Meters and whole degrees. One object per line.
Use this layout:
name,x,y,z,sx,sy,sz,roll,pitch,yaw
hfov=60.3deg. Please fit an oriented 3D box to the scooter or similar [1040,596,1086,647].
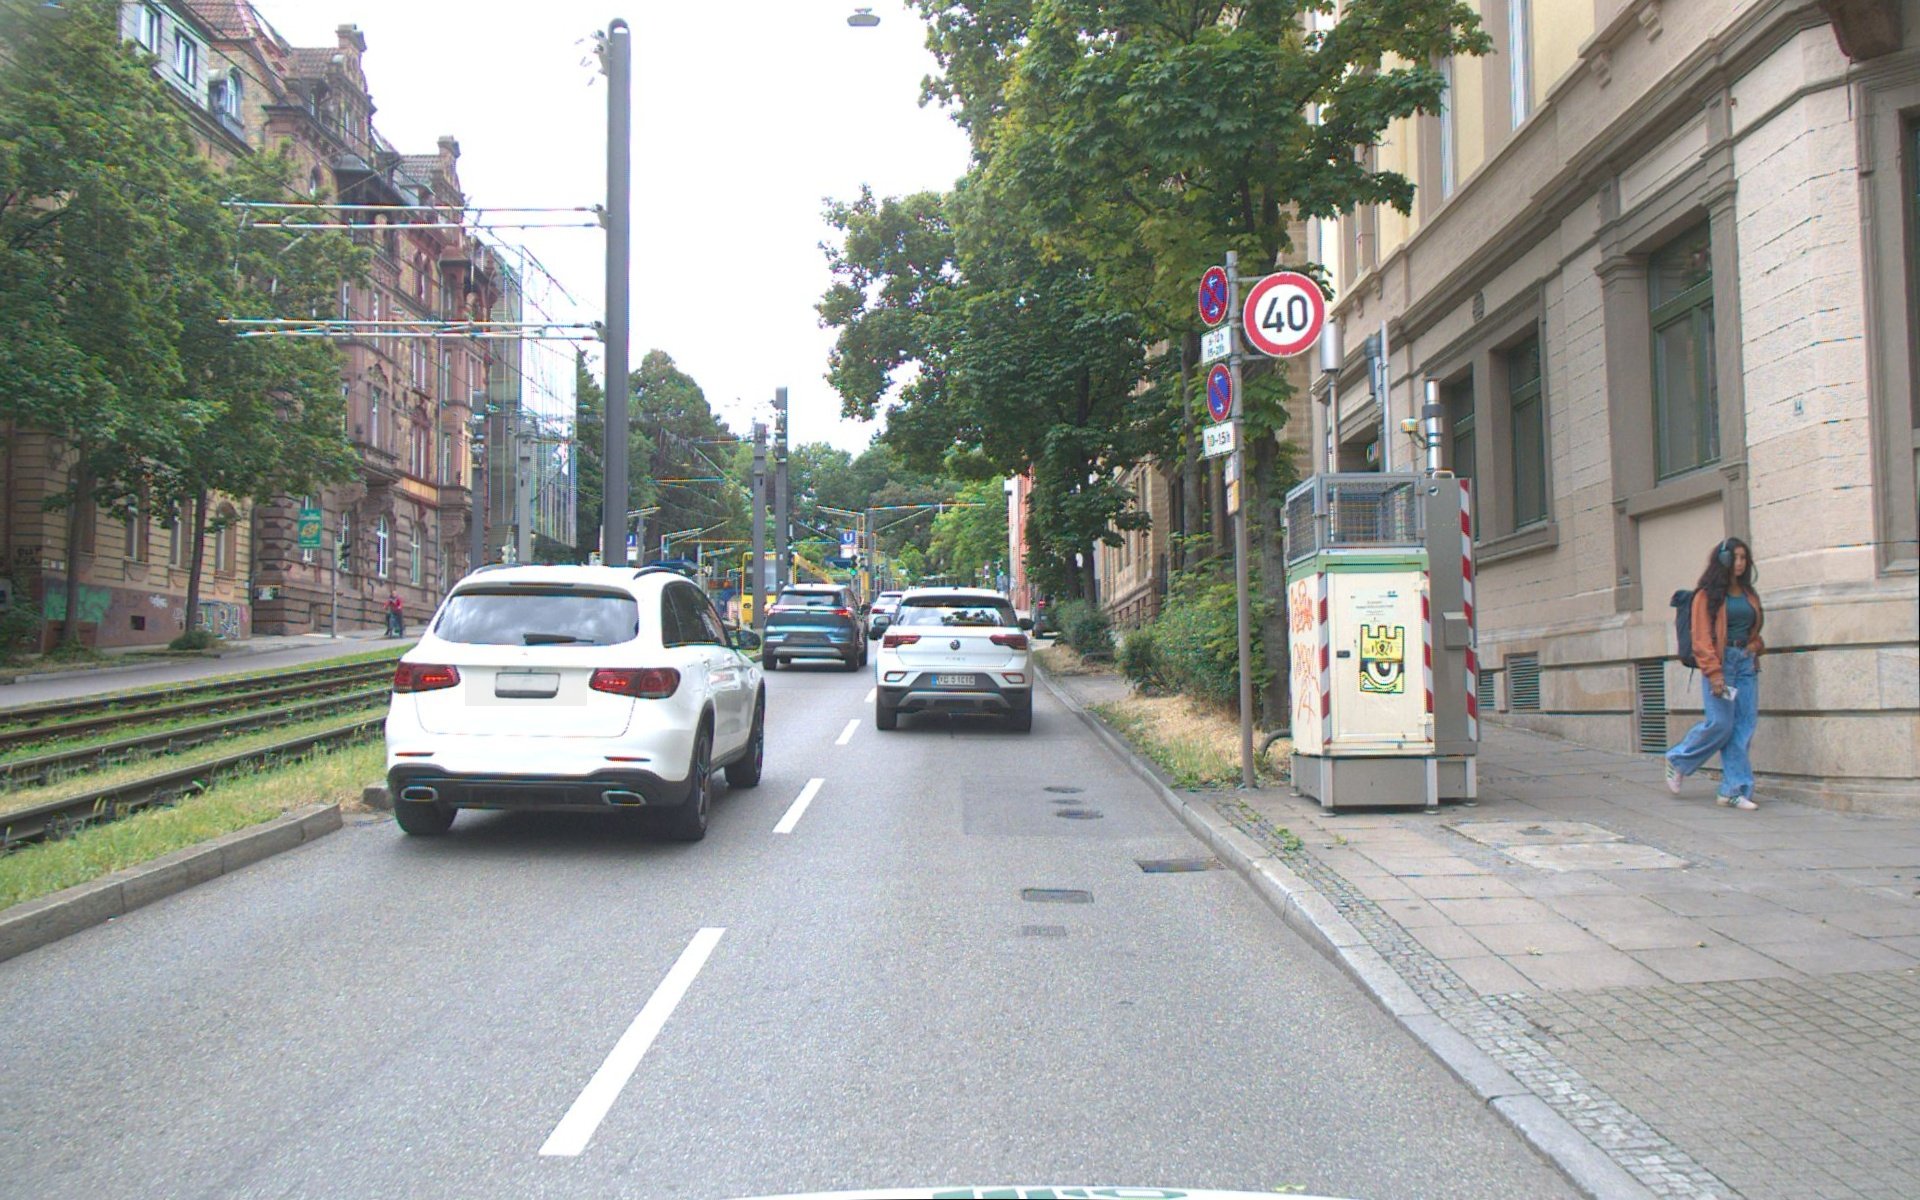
scooter or similar,2.374,0.494,38.256,1.015,1.138,0.331,-2,0,6

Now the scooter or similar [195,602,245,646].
scooter or similar,-22.512,0.706,50.347,0.616,1.277,2.214,0,0,-3

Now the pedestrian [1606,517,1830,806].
pedestrian,4.706,0.345,10.328,0.699,1.691,1.121,-1,1,-19

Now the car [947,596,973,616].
car,0.001,0.476,132.854,2.026,1.573,4.193,1,0,0

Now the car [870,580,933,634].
car,-1.780,0.206,51.489,1.798,1.573,4.193,1,0,0

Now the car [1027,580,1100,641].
car,2.987,0.274,48.354,1.798,1.629,4.193,-2,0,0

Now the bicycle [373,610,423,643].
bicycle,-20.470,0.947,60.307,0.919,1.119,2.702,0,1,-1

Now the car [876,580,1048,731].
car,-0.029,0.579,19.654,1.798,1.573,4.192,1,0,-1

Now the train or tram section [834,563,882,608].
train or tram section,-8.159,-1.159,133.562,2.934,3.407,13.439,0,0,0

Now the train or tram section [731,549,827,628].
train or tram section,-8.398,-0.538,78.318,2.934,3.407,13.439,0,0,0

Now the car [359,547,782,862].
car,-2.389,0.562,11.421,1.798,1.696,4.670,1,0,0

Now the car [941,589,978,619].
car,-0.032,0.187,91.729,2.026,1.573,4.193,1,0,0

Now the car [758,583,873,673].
car,-2.681,0.483,31.460,1.798,1.573,4.193,1,0,0

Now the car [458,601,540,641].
car,-17.484,0.767,62.934,1.952,1.427,4.000,0,0,0

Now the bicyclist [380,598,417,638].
bicyclist,-20.482,0.644,60.349,0.919,1.450,1.188,0,0,-1

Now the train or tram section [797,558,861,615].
train or tram section,-8.213,-0.846,105.358,2.934,3.407,13.439,0,0,0
